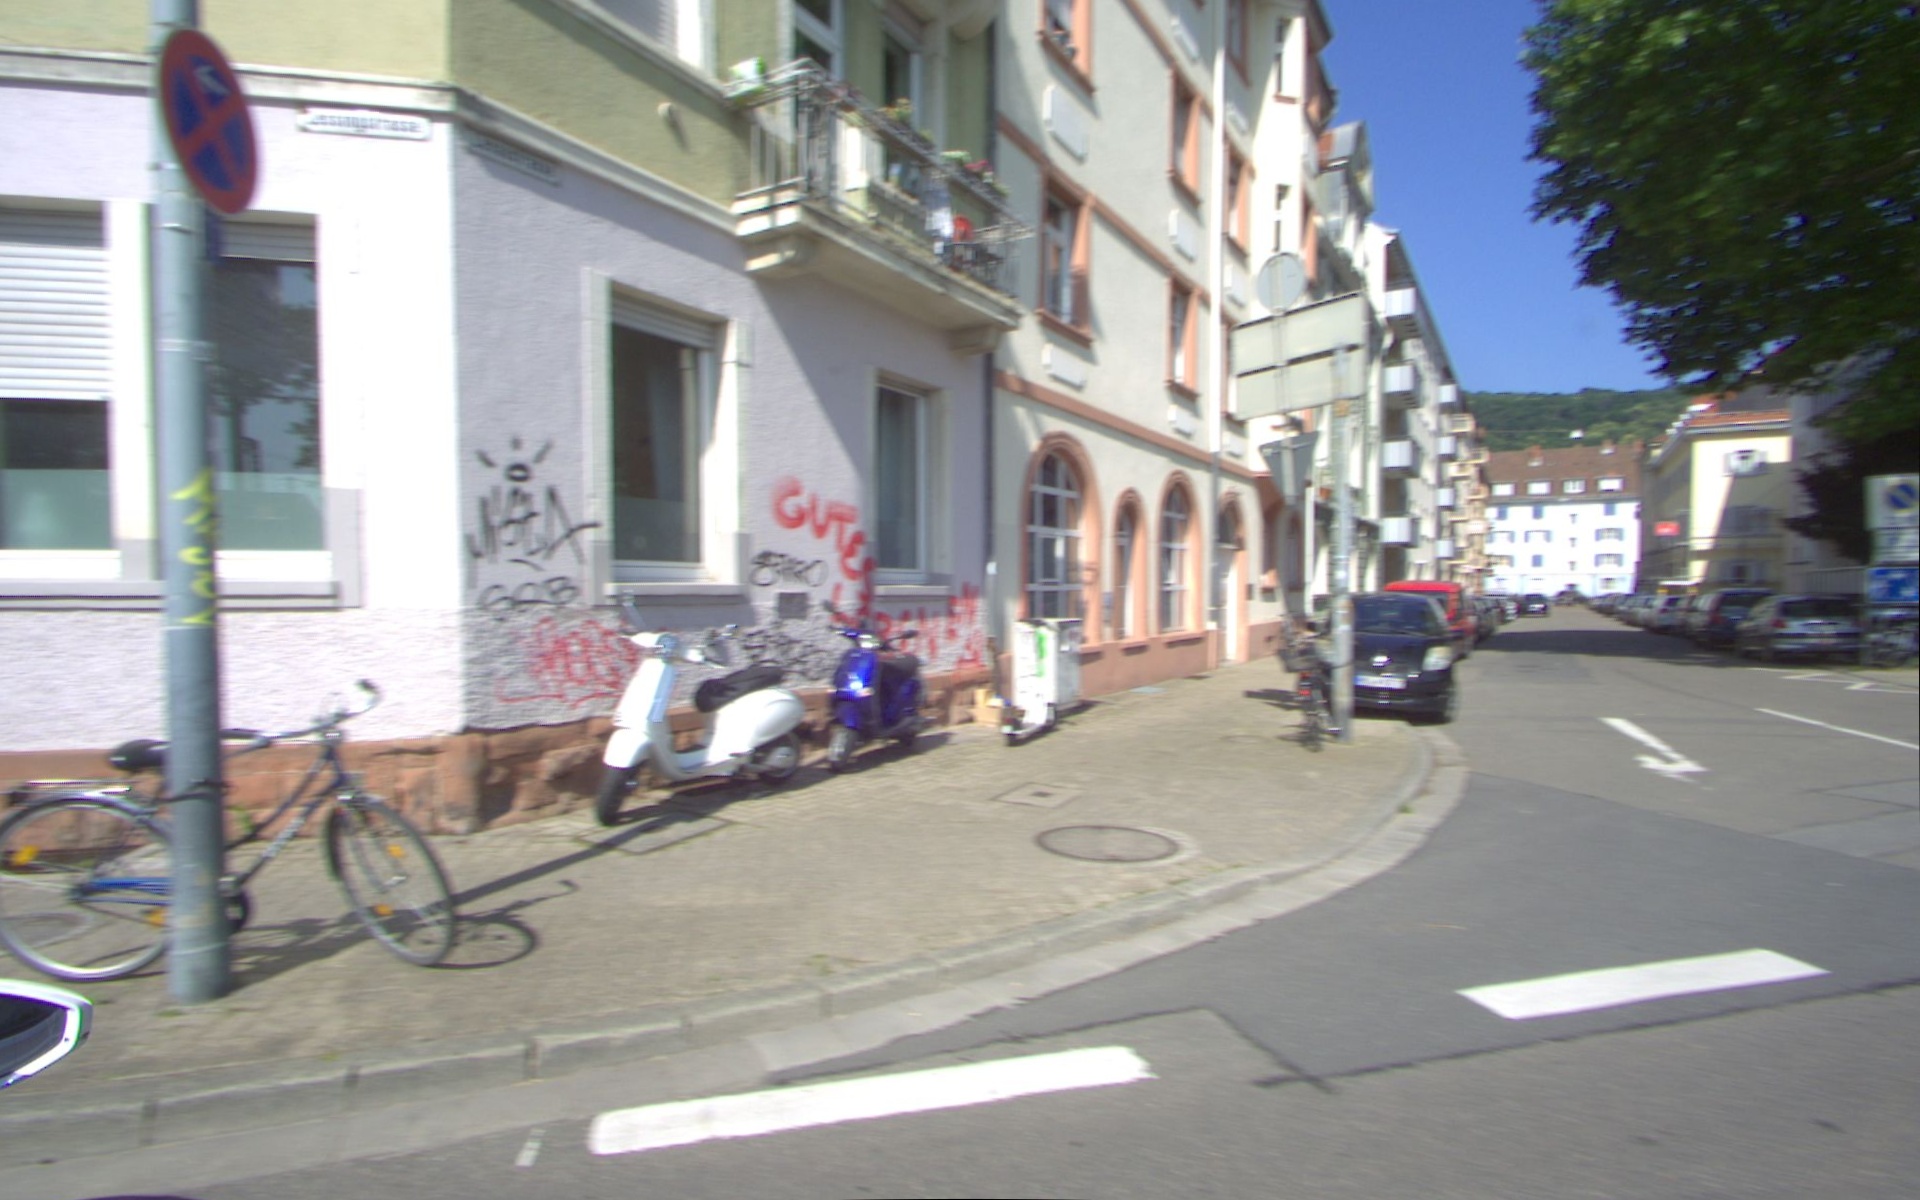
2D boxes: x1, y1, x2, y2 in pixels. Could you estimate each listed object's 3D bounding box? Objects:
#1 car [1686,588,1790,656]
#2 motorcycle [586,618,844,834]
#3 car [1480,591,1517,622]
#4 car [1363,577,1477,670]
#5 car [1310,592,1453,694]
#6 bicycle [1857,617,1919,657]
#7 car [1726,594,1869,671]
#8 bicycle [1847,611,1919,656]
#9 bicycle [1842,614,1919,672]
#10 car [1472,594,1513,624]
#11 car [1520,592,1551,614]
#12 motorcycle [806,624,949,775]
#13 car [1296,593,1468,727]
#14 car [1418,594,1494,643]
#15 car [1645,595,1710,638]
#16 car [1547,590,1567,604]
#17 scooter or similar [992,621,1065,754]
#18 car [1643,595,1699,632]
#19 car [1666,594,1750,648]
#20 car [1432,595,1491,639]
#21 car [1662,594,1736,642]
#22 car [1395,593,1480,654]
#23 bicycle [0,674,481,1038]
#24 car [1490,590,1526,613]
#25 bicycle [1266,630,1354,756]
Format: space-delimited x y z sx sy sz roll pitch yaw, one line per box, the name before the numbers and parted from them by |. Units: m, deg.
car | 20.487 0.517 26.505 1.728 1.680 3.760 1 1 32
motorcycle | -1.553 0.751 6.635 0.467 1.166 1.752 3 4 37
car | 31.793 0.331 59.168 1.840 1.745 3.846 1 1 28
car | 10.300 0.445 22.264 1.845 1.866 4.204 1 1 31
car | 7.545 0.651 17.683 1.958 1.563 4.045 0 1 28
bicycle | 22.002 0.870 23.391 1.483 0.845 0.382 2 4 30
car | 17.858 0.624 21.521 1.784 1.471 3.774 1 1 32
bicycle | 22.560 0.805 24.211 1.551 1.007 0.454 2 4 30
bicycle | 17.551 0.786 18.351 1.868 0.997 0.970 1 1 27
car | 28.210 0.450 53.087 1.840 1.506 3.846 1 1 28
car | 40.511 0.183 70.448 1.728 1.480 3.760 1 1 32
motorcycle | -0.657 0.783 8.420 0.422 1.109 1.443 3 2 31
car | 5.500 0.655 13.184 1.796 1.466 3.758 1 1 22
car | 16.363 0.559 32.954 1.842 1.506 3.978 1 1 32
car | 27.476 0.587 38.436 1.728 1.540 3.652 1 1 32
car | 62.305 -0.336 104.475 1.728 1.501 3.760 1 1 32
scooter or similar | 0.684 0.795 9.670 0.270 1.143 1.444 2 2 21
car | 31.612 0.569 44.595 1.728 1.540 3.652 1 1 32
car | 23.033 0.610 30.941 1.728 1.540 3.652 1 1 32
car | 18.721 0.596 37.295 1.840 1.506 3.982 1 1 28
car | 25.579 0.566 34.753 1.728 1.540 3.652 1 1 32
car | 13.025 0.580 27.218 1.840 1.506 3.982 1 1 29
bicycle | -2.724 0.858 3.606 1.703 1.102 0.577 0 1 -14
car | 37.023 0.107 67.637 1.970 1.498 3.980 1 1 31
bicycle | 3.448 0.866 9.993 0.615 1.048 1.880 0 1 13
